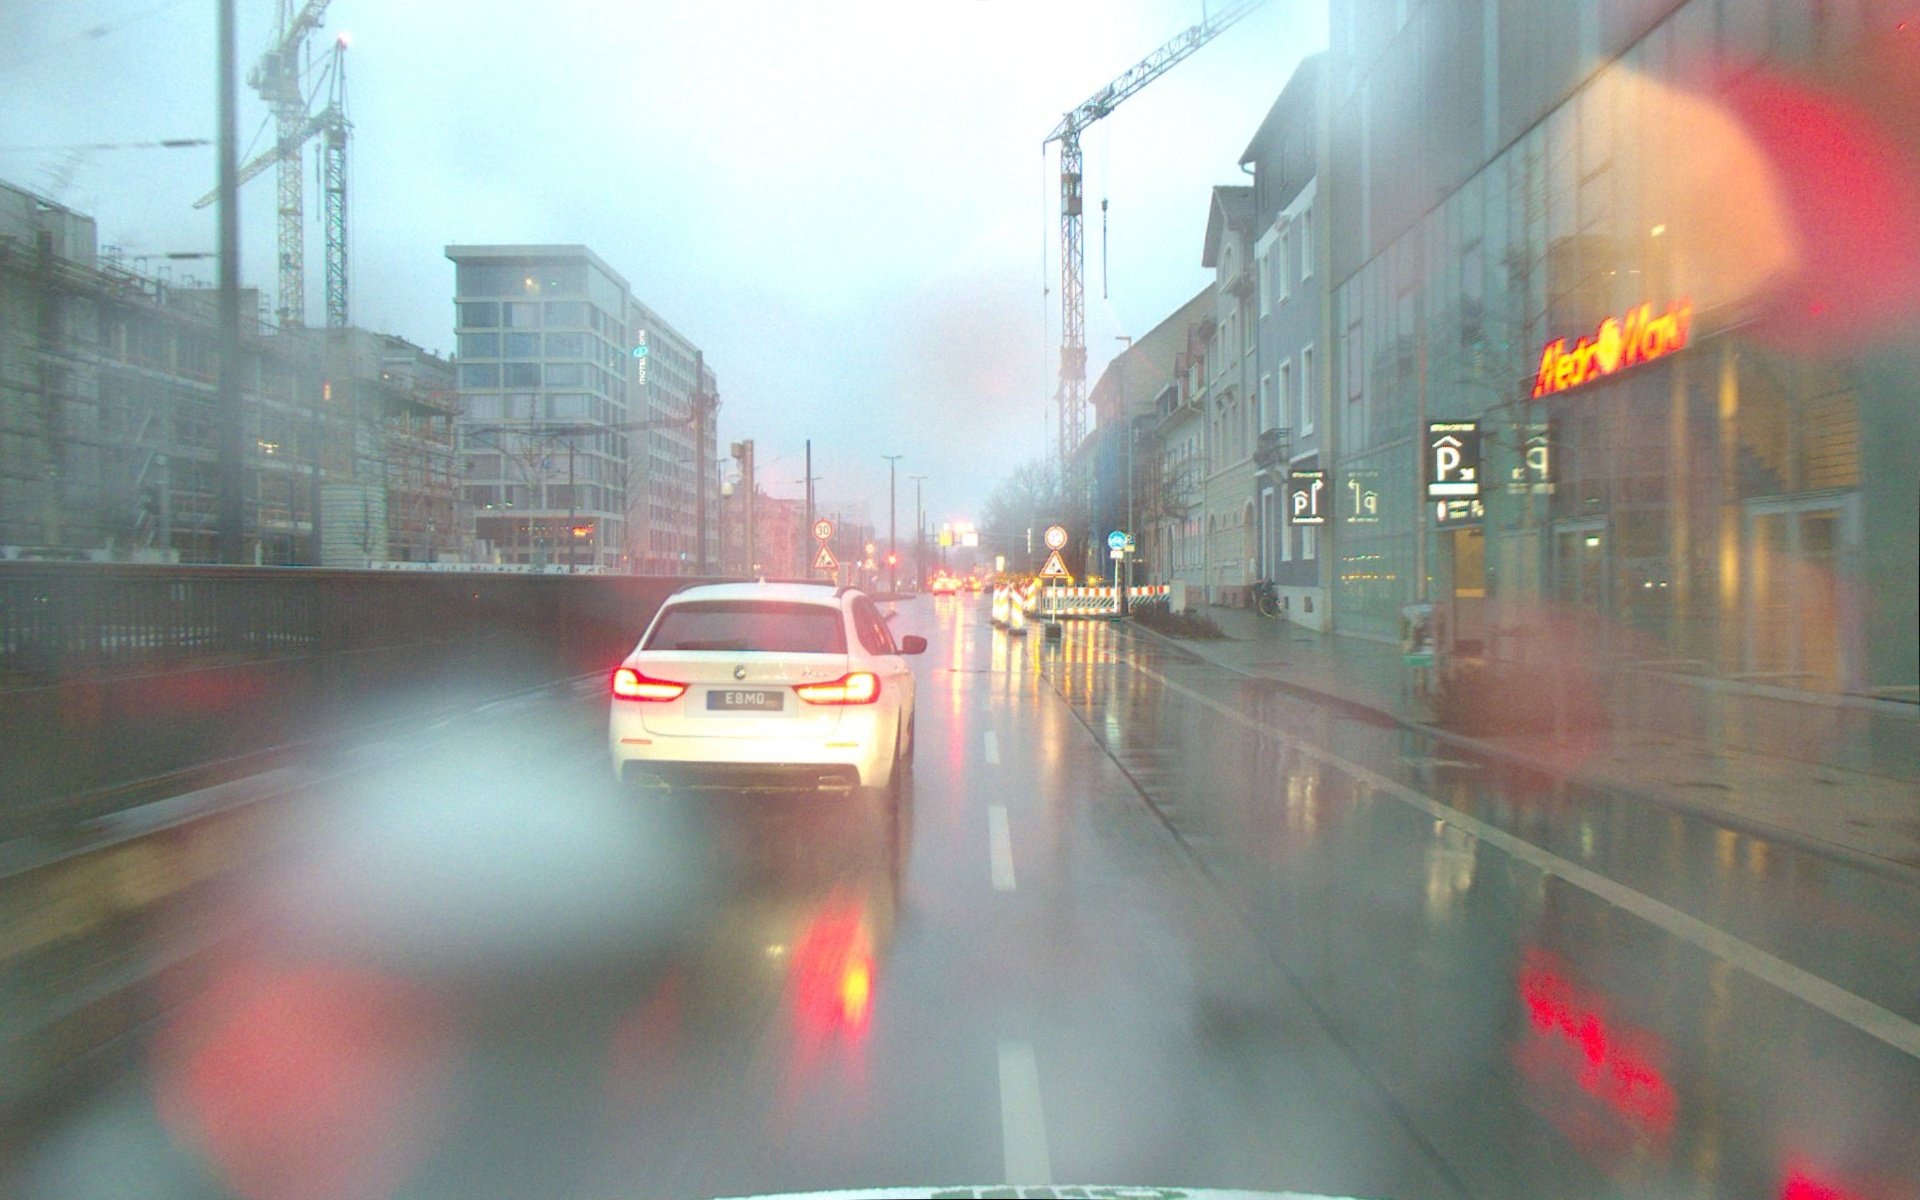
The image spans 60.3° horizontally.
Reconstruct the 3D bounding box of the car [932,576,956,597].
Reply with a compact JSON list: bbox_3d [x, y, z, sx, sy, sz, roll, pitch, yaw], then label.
[{"bbox_3d":[-1.335,-1.143,139.980,1.862,1.670,4.001,1,1,1],"label":"car"}]

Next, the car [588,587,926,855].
[{"bbox_3d":[-1.206,0.672,11.910,1.814,1.491,4.947,1,1,0],"label":"car"}]

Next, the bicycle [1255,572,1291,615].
[{"bbox_3d":[9.619,-0.199,50.919,0.668,1.243,1.905,-3,0,-1],"label":"bicycle"}]
